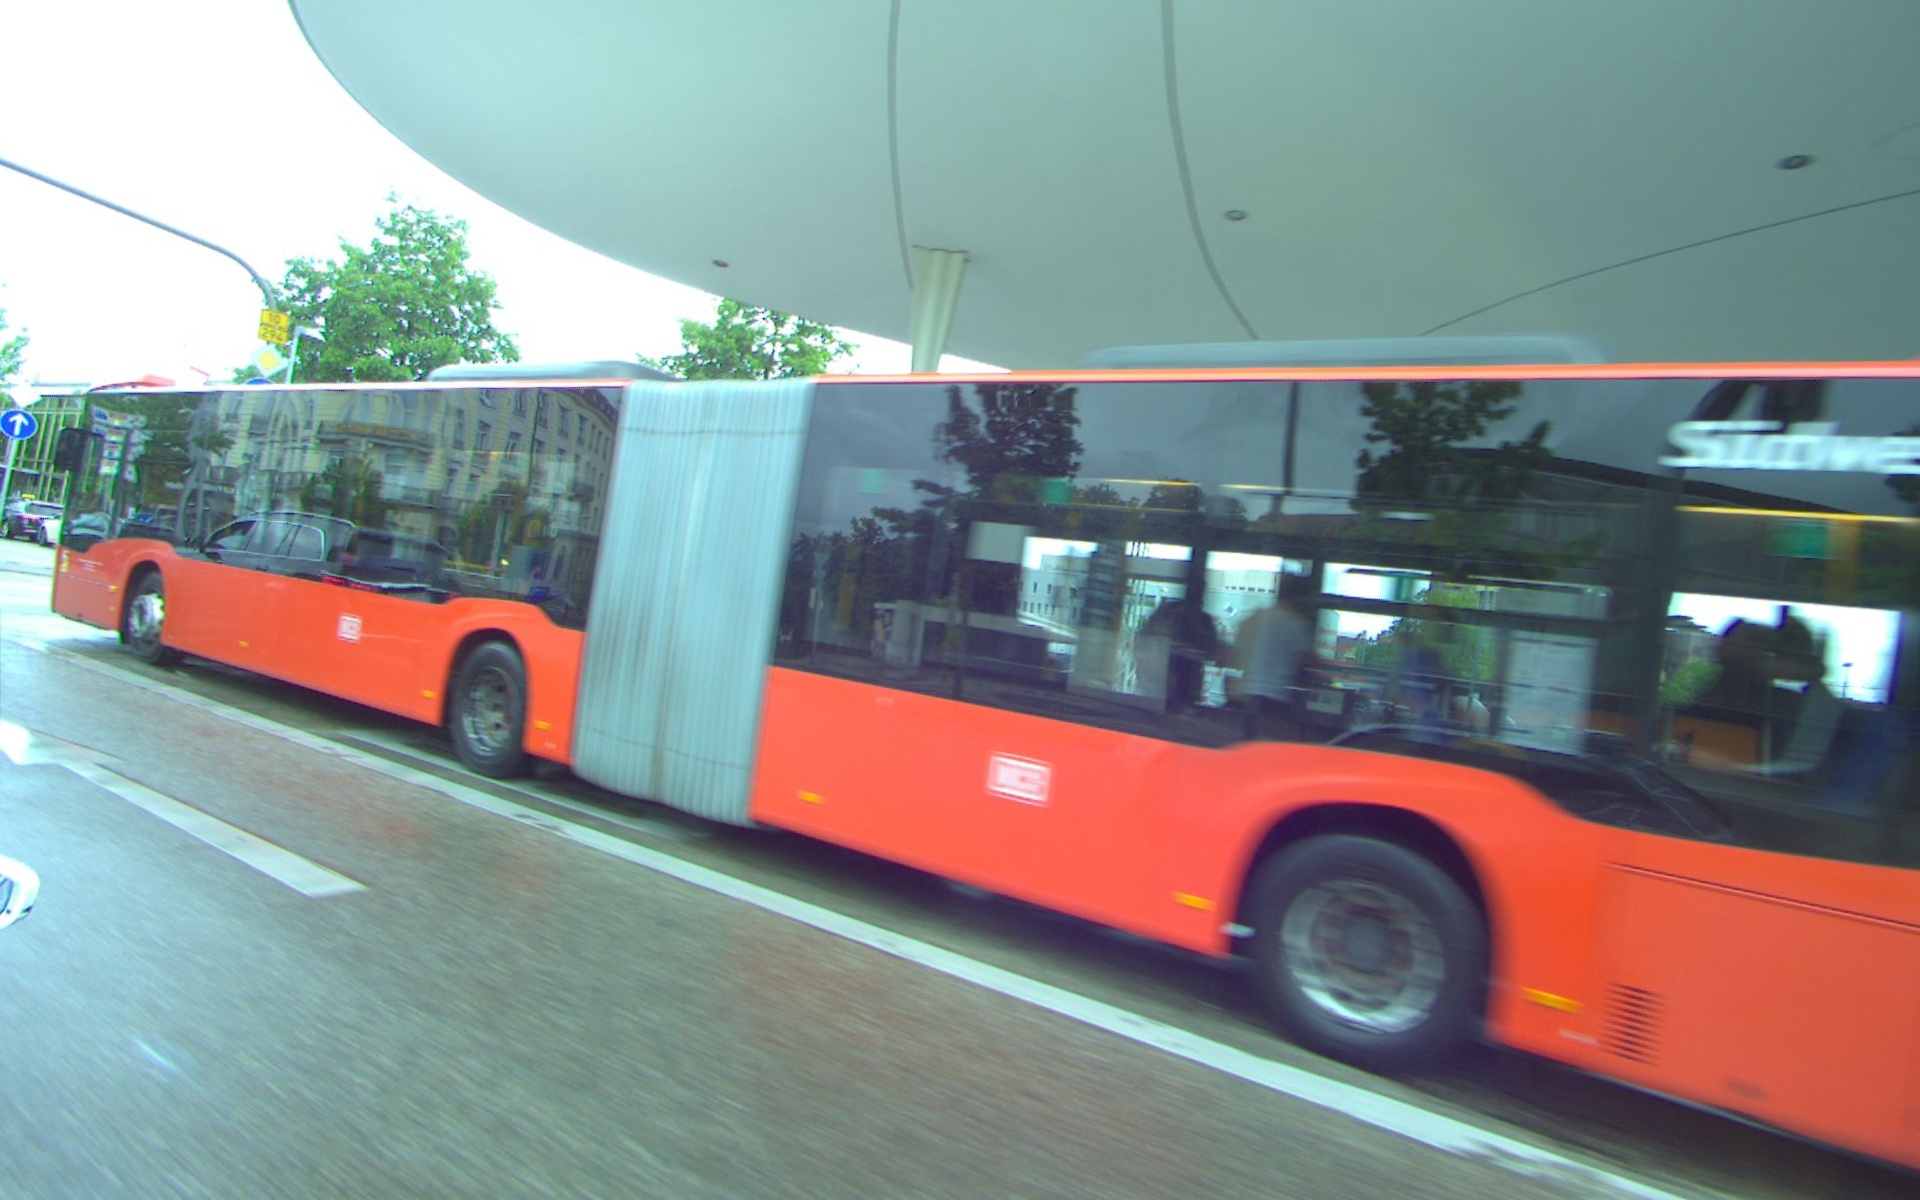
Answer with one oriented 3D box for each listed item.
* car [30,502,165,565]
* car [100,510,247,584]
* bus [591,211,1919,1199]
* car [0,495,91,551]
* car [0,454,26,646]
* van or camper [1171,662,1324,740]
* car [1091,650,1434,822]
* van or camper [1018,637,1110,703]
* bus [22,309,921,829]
[{"bbox_3d":[-28.255,-2.176,32.942,4.587,1.468,1.851,7,-2,30],"label":"car"},{"bbox_3d":[-23.532,-1.590,30.062,4.537,1.608,1.778,7,-2,30],"label":"car"},{"bbox_3d":[2.001,0.312,5.313,7.985,3.210,2.748,7,-2,31],"label":"bus"},{"bbox_3d":[-33.501,-2.852,36.144,4.661,1.542,1.918,7,-2,30],"label":"car"},{"bbox_3d":[-10.408,-0.629,8.786,4.611,1.827,1.998,7,-1,31],"label":"car"},{"bbox_3d":[12.618,4.401,44.286,5.873,2.492,2.108,7,-2,31],"label":"van or camper"},{"bbox_3d":[4.386,1.920,14.778,4.359,1.666,1.806,7,-4,31],"label":"car"},{"bbox_3d":[4.816,3.251,45.726,2.072,2.491,5.974,7,-2,25],"label":"van or camper"},{"bbox_3d":[-5.469,-0.561,9.958,10.025,3.210,2.748,7,-2,32],"label":"bus"}]
